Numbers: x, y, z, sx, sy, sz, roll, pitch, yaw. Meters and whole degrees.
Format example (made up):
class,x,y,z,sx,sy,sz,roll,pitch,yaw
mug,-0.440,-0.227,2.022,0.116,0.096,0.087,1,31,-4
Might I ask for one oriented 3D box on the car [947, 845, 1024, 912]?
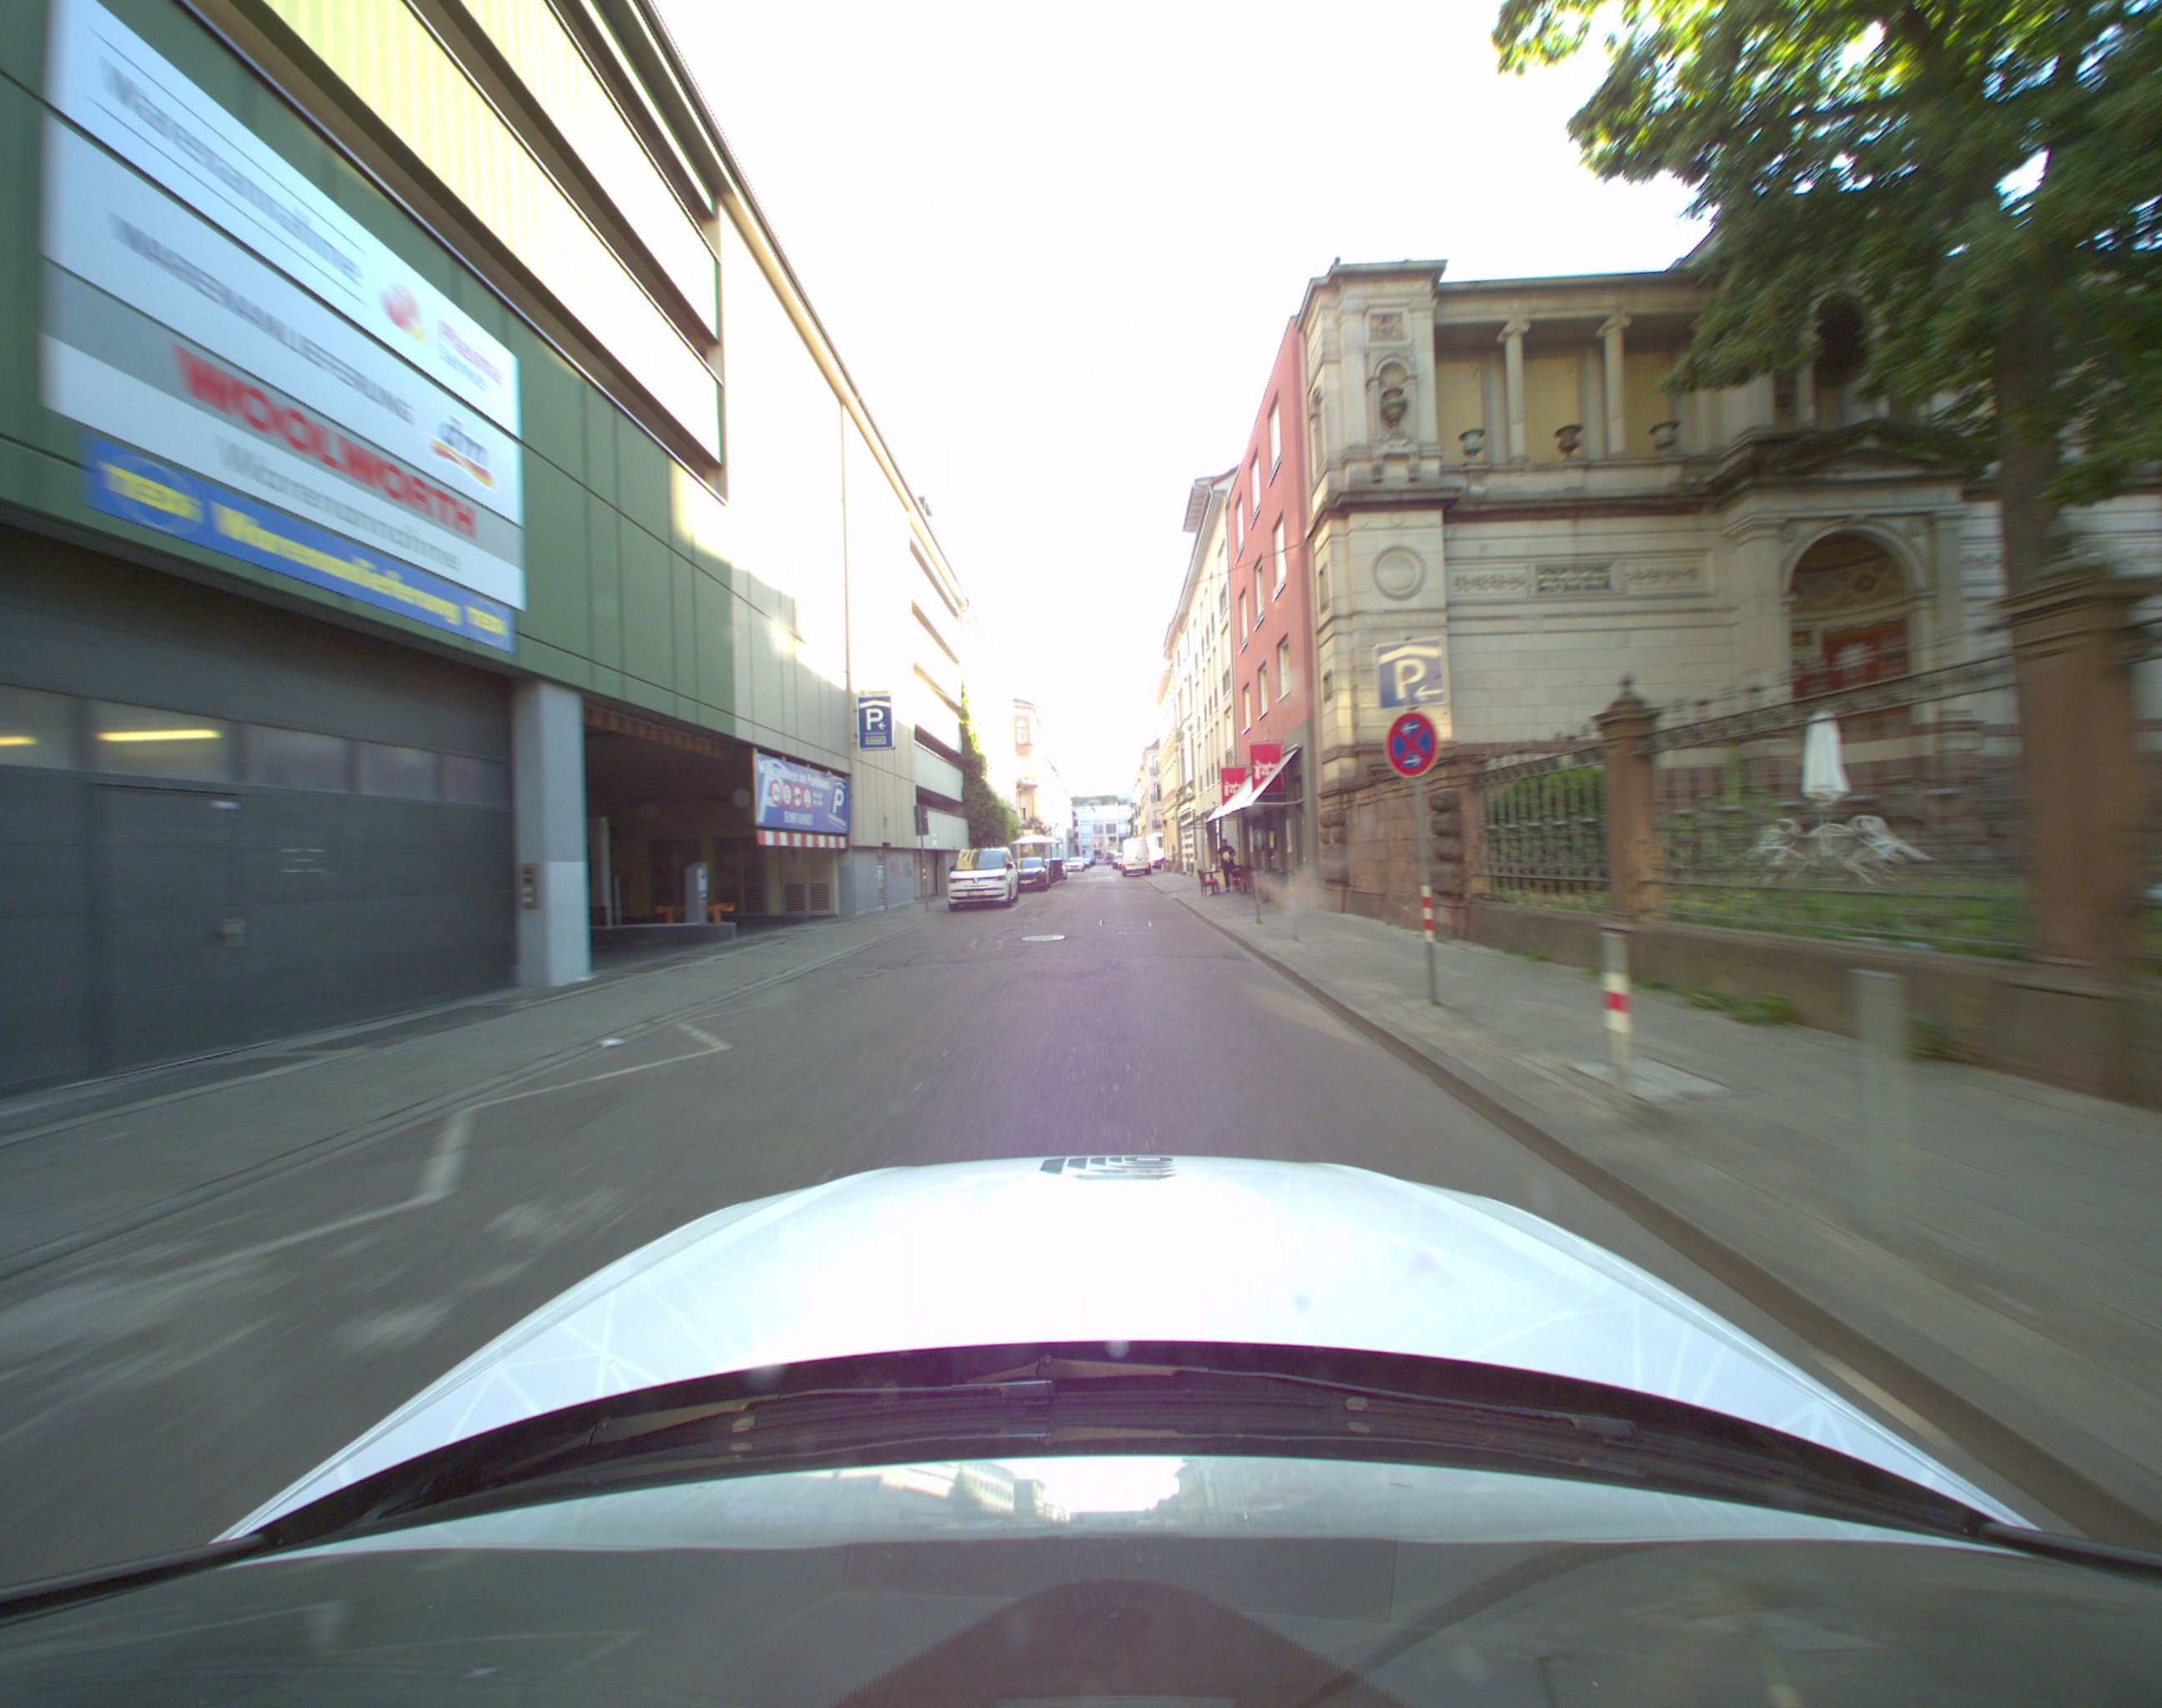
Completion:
class,x,y,z,sx,sy,sz,roll,pitch,yaw
car,-3.022,0.742,26.598,1.877,1.912,4.747,-2,0,0

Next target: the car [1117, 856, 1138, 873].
class,x,y,z,sx,sy,sz,roll,pitch,yaw
car,4.786,1.084,84.429,1.986,1.684,4.001,-2,-1,2

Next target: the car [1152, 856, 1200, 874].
class,x,y,z,sx,sy,sz,roll,pitch,yaw
car,8.192,0.952,70.304,3.972,1.420,1.657,-2,-1,1

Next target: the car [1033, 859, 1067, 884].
class,x,y,z,sx,sy,sz,roll,pitch,yaw
car,-1.914,1.088,51.359,1.877,1.453,4.000,-2,0,0

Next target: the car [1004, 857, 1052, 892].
class,x,y,z,sx,sy,sz,roll,pitch,yaw
car,-2.404,0.914,37.919,1.877,1.453,4.000,-2,0,0

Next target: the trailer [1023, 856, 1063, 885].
class,x,y,z,sx,sy,sz,roll,pitch,yaw
trailer,-2.148,0.935,47.036,1.987,1.557,4.000,-2,-1,0

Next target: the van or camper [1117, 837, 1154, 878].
class,x,y,z,sx,sy,sz,roll,pitch,yaw
van or camper,3.957,0.283,59.872,2.250,2.607,5.114,-6,-1,2

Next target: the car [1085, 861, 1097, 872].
class,x,y,z,sx,sy,sz,roll,pitch,yaw
car,1.690,2.158,138.687,1.986,1.684,4.001,-2,-1,2

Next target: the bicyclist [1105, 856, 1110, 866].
class,x,y,z,sx,sy,sz,roll,pitch,yaw
bicyclist,4.931,1.266,152.134,0.986,1.869,0.708,-2,-1,1

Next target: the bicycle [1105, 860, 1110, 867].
class,x,y,z,sx,sy,sz,roll,pitch,yaw
bicycle,4.972,1.778,152.299,0.971,1.280,2.755,-2,-1,2

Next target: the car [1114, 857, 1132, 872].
class,x,y,z,sx,sy,sz,roll,pitch,yaw
car,4.959,1.292,96.274,1.986,1.684,4.001,-2,-1,2

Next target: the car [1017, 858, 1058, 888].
class,x,y,z,sx,sy,sz,roll,pitch,yaw
car,-2.217,0.965,42.760,1.877,1.453,4.000,-2,0,0

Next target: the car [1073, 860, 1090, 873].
class,x,y,z,sx,sy,sz,roll,pitch,yaw
car,0.104,1.675,109.081,1.986,1.684,4.001,-2,-1,2

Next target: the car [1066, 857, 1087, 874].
class,x,y,z,sx,sy,sz,roll,pitch,yaw
car,-0.492,1.210,85.975,1.986,1.684,4.001,-2,-1,2

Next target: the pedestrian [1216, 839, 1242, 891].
class,x,y,z,sx,sy,sz,roll,pitch,yaw
pedestrian,4.847,0.359,26.684,0.659,1.666,0.624,-4,-1,1
